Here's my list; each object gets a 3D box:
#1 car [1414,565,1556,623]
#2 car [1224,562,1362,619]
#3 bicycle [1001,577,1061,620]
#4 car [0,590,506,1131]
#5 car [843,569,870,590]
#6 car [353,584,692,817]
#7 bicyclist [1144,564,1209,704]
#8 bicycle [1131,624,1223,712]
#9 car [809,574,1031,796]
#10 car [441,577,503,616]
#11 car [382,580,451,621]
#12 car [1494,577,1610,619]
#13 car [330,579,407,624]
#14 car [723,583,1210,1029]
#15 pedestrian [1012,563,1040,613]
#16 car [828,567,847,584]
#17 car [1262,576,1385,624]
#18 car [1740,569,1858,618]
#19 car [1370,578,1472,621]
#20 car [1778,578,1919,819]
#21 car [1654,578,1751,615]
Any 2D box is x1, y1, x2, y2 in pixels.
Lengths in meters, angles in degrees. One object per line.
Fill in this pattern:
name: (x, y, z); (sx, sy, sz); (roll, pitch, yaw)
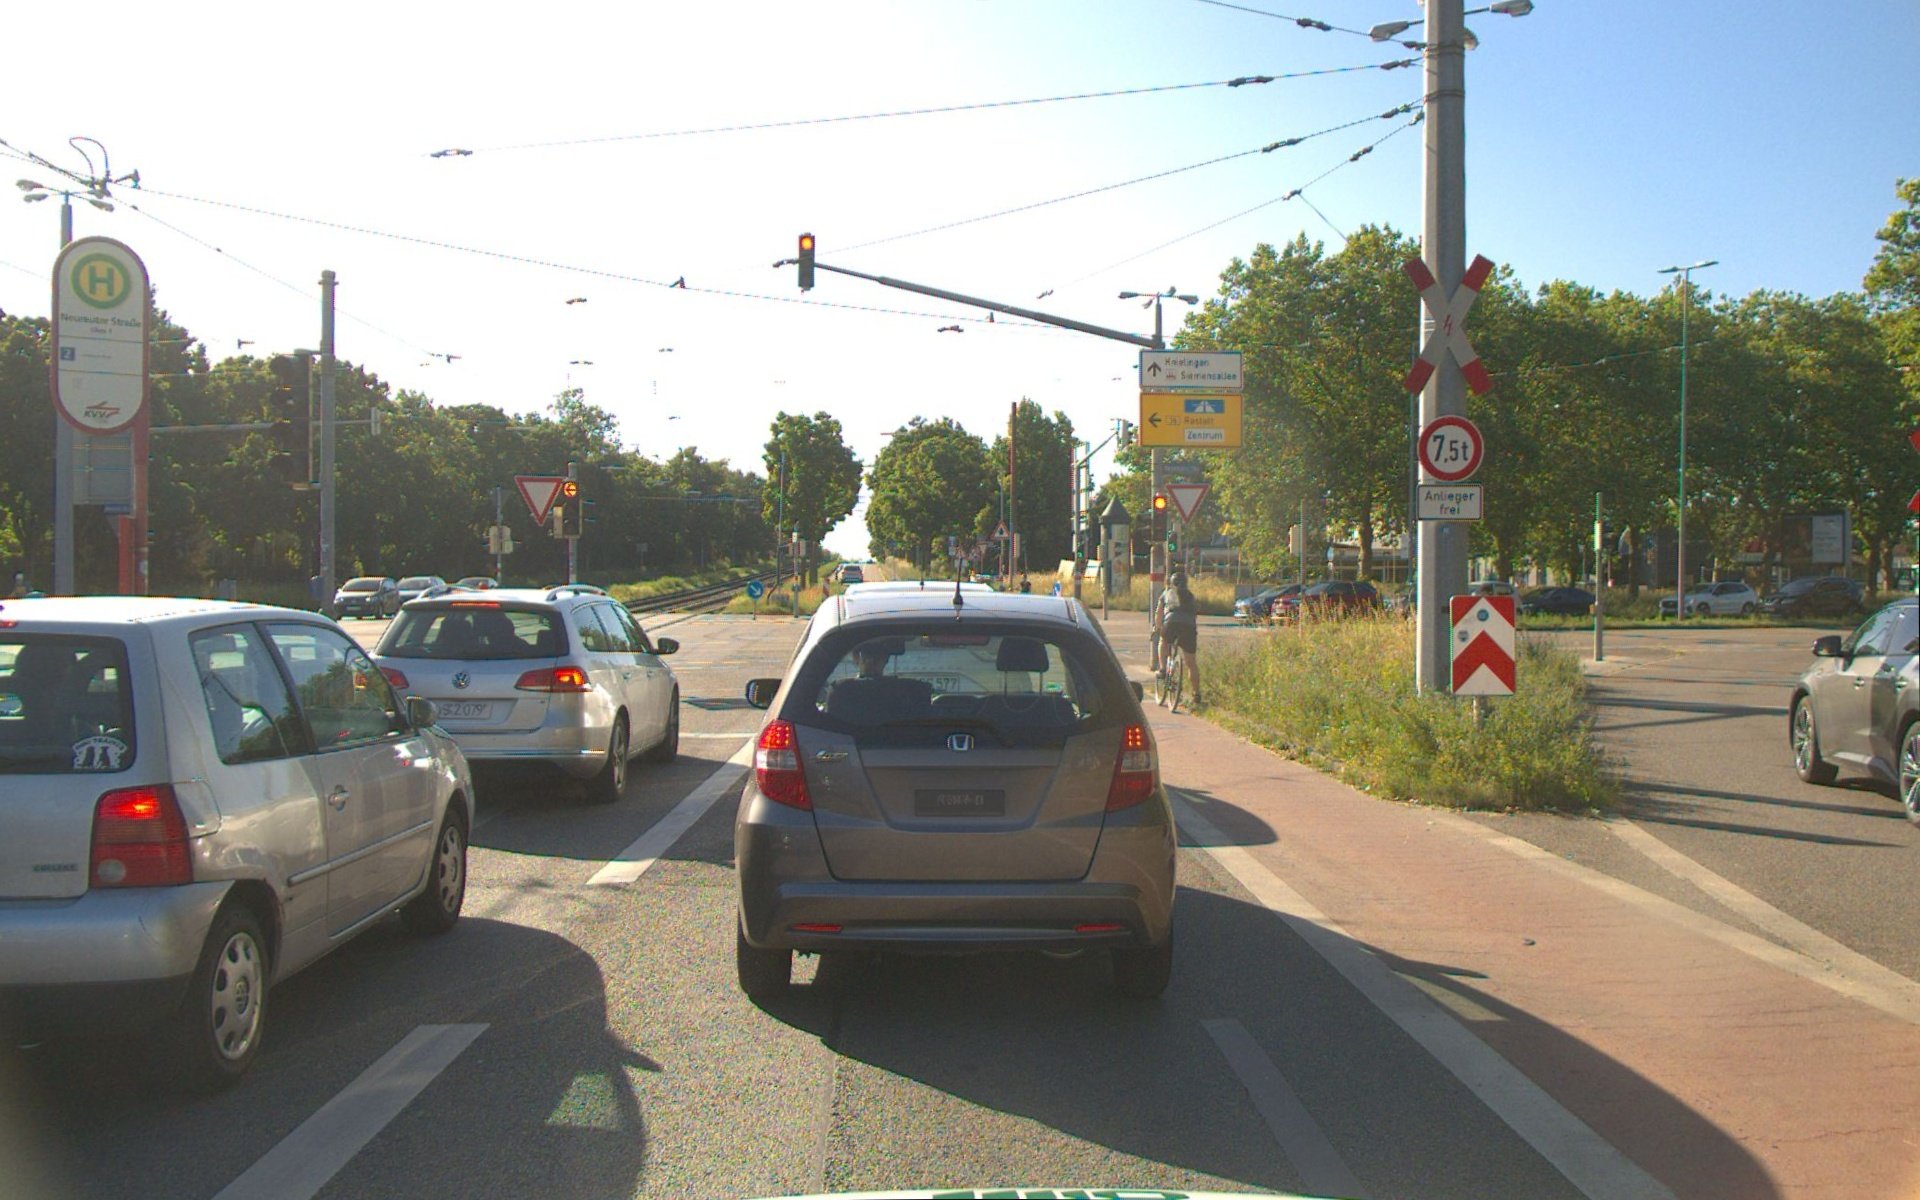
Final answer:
car: (19.020, -0.226, 59.889); (4.823, 2.049, 1.985); (0, 0, -24)
car: (12.175, -0.328, 60.453); (4.626, 1.912, 1.985); (2, 0, -24)
bicycle: (2.700, -0.066, 62.166); (0.803, 1.602, 3.207); (0, 0, 31)
car: (-2.898, 0.704, 6.090); (1.586, 1.442, 3.350); (0, 0, -1)
car: (-7.588, -1.517, 121.273); (1.678, 1.504, 3.993); (0, 0, -8)
car: (-3.156, 0.654, 12.730); (1.586, 1.482, 4.084); (1, 0, -1)
bicyclist: (2.764, 0.428, 21.209); (0.652, 1.746, 0.948); (1, 0, -2)
bicycle: (2.752, 0.841, 21.288); (0.707, 1.006, 2.875); (1, 0, -2)
car: (-0.335, 0.599, 13.991); (1.578, 1.589, 4.287); (0, 0, -1)
car: (-21.735, -0.165, 73.790); (1.956, 1.632, 4.746); (1, 1, -8)
car: (-21.487, 0.019, 65.541); (1.798, 1.575, 4.277); (0, 0, -8)
car: (23.590, -0.098, 65.874); (4.450, 1.601, 1.681); (0, 0, -24)
car: (-21.318, 0.036, 59.753); (1.798, 1.575, 3.993); (0, 0, -8)
car: (-0.065, 0.679, 7.360); (1.635, 1.487, 3.584); (0, 0, -3)
pedestrian: (2.471, -0.455, 61.716); (0.773, 1.868, 0.854); (0, 0, 27)
car: (-10.489, -2.074, 141.386); (1.494, 1.403, 3.670); (0, 0, -7)
car: (12.356, -0.013, 56.168); (3.934, 1.557, 1.594); (-1, 1, -24)
car: (31.712, -0.274, 62.517); (4.148, 1.805, 1.841); (0, 0, -26)
car: (17.641, -0.024, 63.316); (3.694, 1.597, 1.480); (0, 0, -24)
car: (7.743, 0.661, 12.515); (1.728, 1.659, 4.502); (0, 0, 12)
car: (31.268, -0.158, 69.639); (3.937, 1.527, 1.580); (0, 0, -26)
